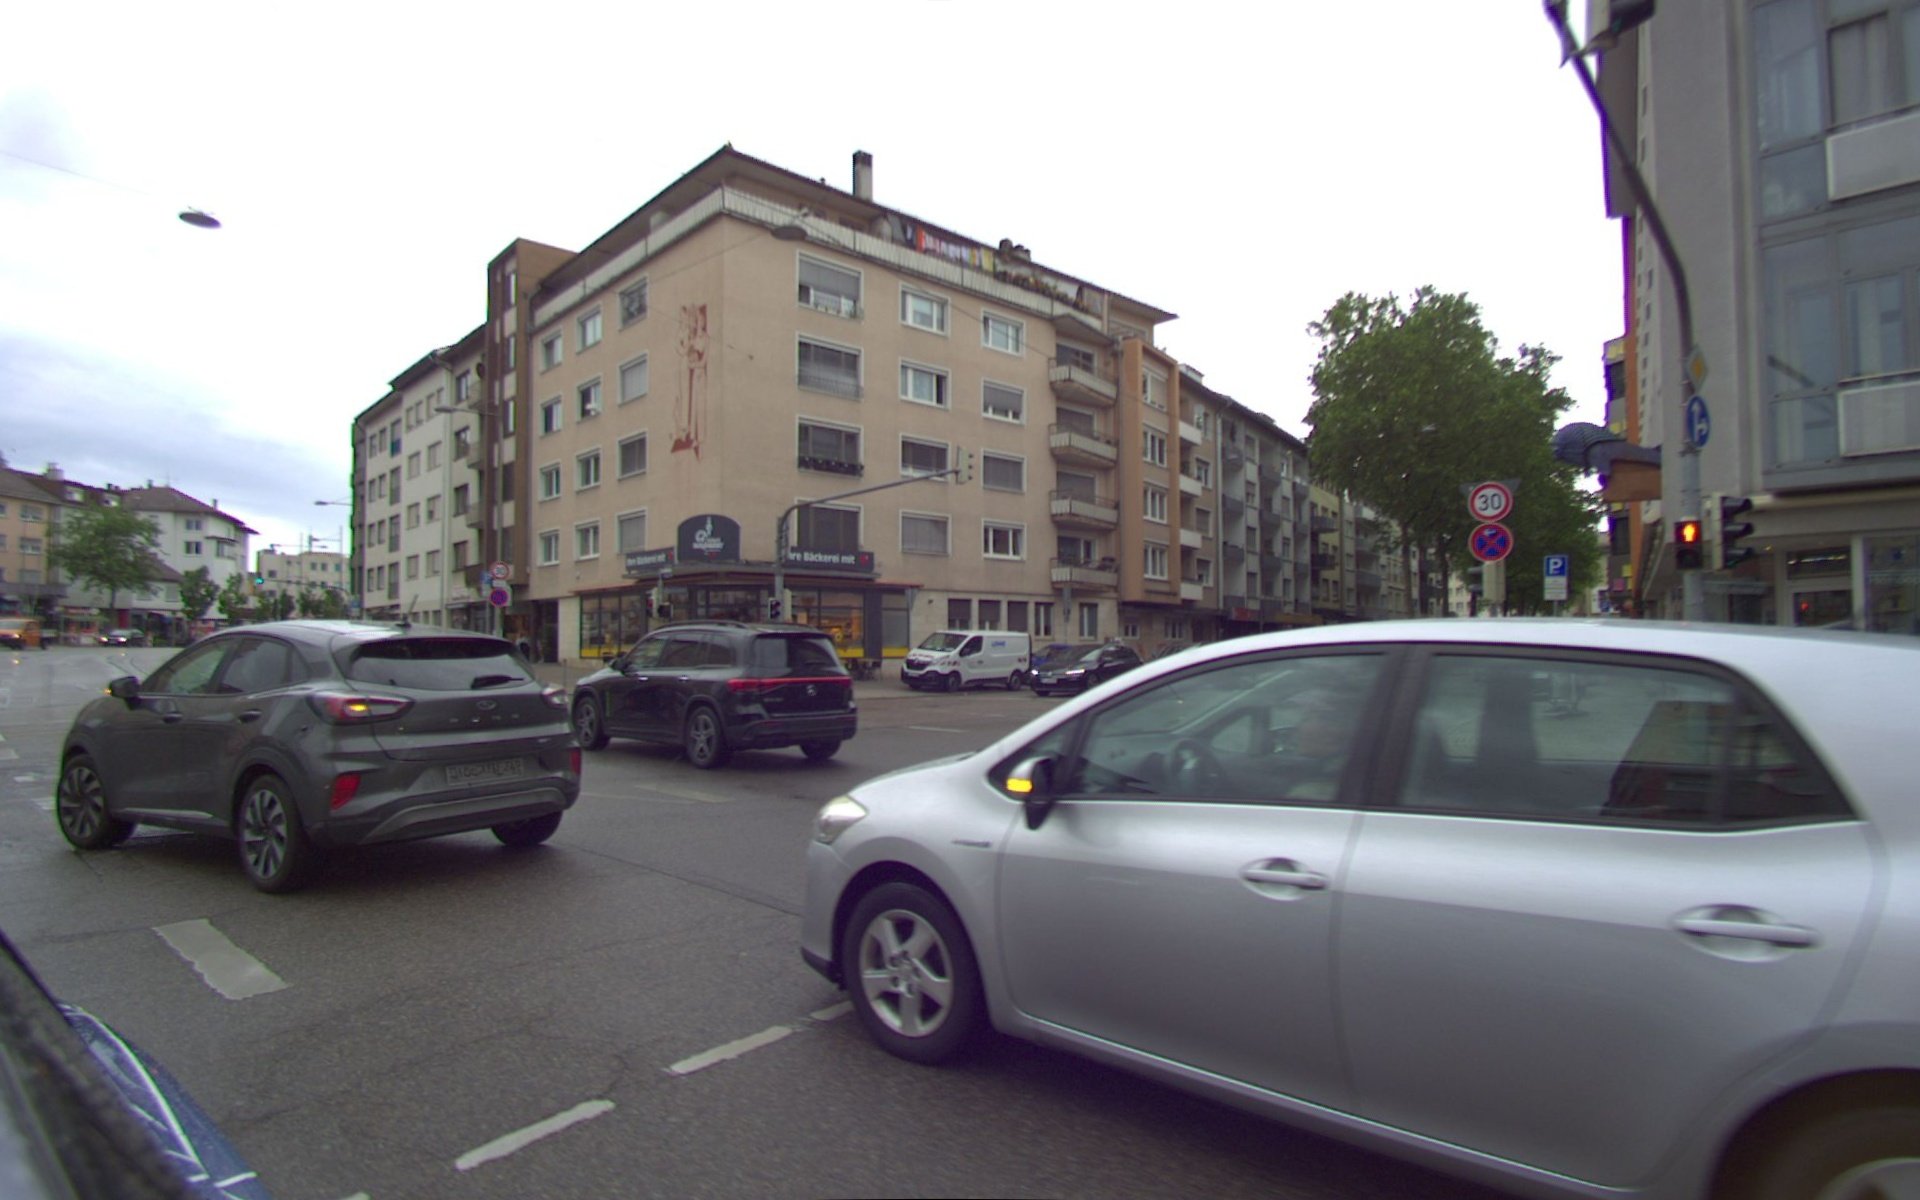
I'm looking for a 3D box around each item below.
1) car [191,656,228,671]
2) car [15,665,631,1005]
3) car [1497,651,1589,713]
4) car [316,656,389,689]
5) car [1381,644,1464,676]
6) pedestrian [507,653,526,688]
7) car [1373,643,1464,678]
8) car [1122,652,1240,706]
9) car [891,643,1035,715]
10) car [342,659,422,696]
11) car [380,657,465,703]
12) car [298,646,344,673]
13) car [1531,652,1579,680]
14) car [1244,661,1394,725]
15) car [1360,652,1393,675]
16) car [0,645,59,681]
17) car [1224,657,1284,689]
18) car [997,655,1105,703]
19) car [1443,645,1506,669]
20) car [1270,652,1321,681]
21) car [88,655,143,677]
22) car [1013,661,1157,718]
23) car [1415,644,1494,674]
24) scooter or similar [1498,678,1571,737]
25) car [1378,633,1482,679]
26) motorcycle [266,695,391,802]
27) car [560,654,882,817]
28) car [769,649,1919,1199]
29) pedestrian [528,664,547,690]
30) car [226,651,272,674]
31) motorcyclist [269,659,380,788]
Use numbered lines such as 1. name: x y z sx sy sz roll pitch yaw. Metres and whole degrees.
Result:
1. car: -72.126 6.089 97.309 1.783 1.352 4.013 -1 -1 -21
2. car: -4.411 1.272 6.880 4.211 1.565 1.842 -1 -3 31
3. car: 17.237 2.341 29.829 2.041 1.644 4.289 -2 -3 34
4. car: -29.673 3.514 49.366 1.860 1.488 4.982 4 -4 -44
5. car: 26.514 3.445 58.060 3.993 1.674 1.867 -4 -3 37
6. pedestrian: -20.555 3.252 46.903 0.668 1.595 0.538 -1 -2 34
7. car: 24.076 3.194 53.165 3.993 1.674 1.867 -4 -3 37
8. car: 7.428 2.591 33.705 2.043 1.602 4.596 -4 -4 38
9. car: 0.184 2.534 33.516 2.046 2.119 4.798 1 -1 42
10. car: -25.907 3.411 45.286 1.970 1.488 4.521 3 -4 -45
11. car: -20.736 3.034 38.927 1.884 1.566 4.637 3 -4 -40
12. car: -55.371 5.141 87.803 2.089 2.029 5.144 -1 0 -17
13. car: 33.409 3.681 56.776 1.849 1.483 3.788 -2 -3 37
14. car: 9.050 2.251 25.326 2.000 1.398 4.436 -2 -3 42
15. car: 33.450 5.090 81.224 1.786 1.586 3.956 -3 -2 32
16. car: -58.872 3.879 63.035 2.162 2.102 5.952 0 -2 -22
17. car: 15.613 3.836 53.656 1.837 1.502 4.213 1 -1 34
18. car: 3.499 2.927 38.246 2.044 1.567 4.284 1 -1 38
19. car: 39.995 4.455 78.682 3.993 1.674 1.867 -4 -3 37
20. car: 19.867 3.895 59.817 1.837 1.502 4.213 1 -1 34
21. car: -65.114 5.080 78.099 1.813 1.453 4.011 -1 -1 -16
22. car: 3.559 2.446 28.263 2.044 1.387 4.283 -4 -4 38
23. car: 30.386 3.618 62.249 3.993 1.674 1.867 -4 -3 37
24. scooter or similar: 11.189 2.097 19.735 1.128 1.103 0.362 -4 -5 23
25. car: 25.707 3.085 55.433 4.761 2.324 1.867 -4 -3 37
26. motorcycle: -7.940 1.815 12.686 2.098 1.200 0.582 -4 -3 36
27. car: -3.093 1.528 12.531 4.374 1.652 1.800 -4 -5 44
28. car: 1.483 0.958 3.150 4.132 1.538 1.914 -1 -3 41
29. pedestrian: -19.023 3.466 45.576 0.663 1.157 0.596 0 -2 -15
30. car: -54.390 4.766 77.508 1.836 1.660 4.267 2 -3 -21
31. motorcyclist: -7.986 1.522 12.728 0.862 1.505 0.907 -5 -3 35
